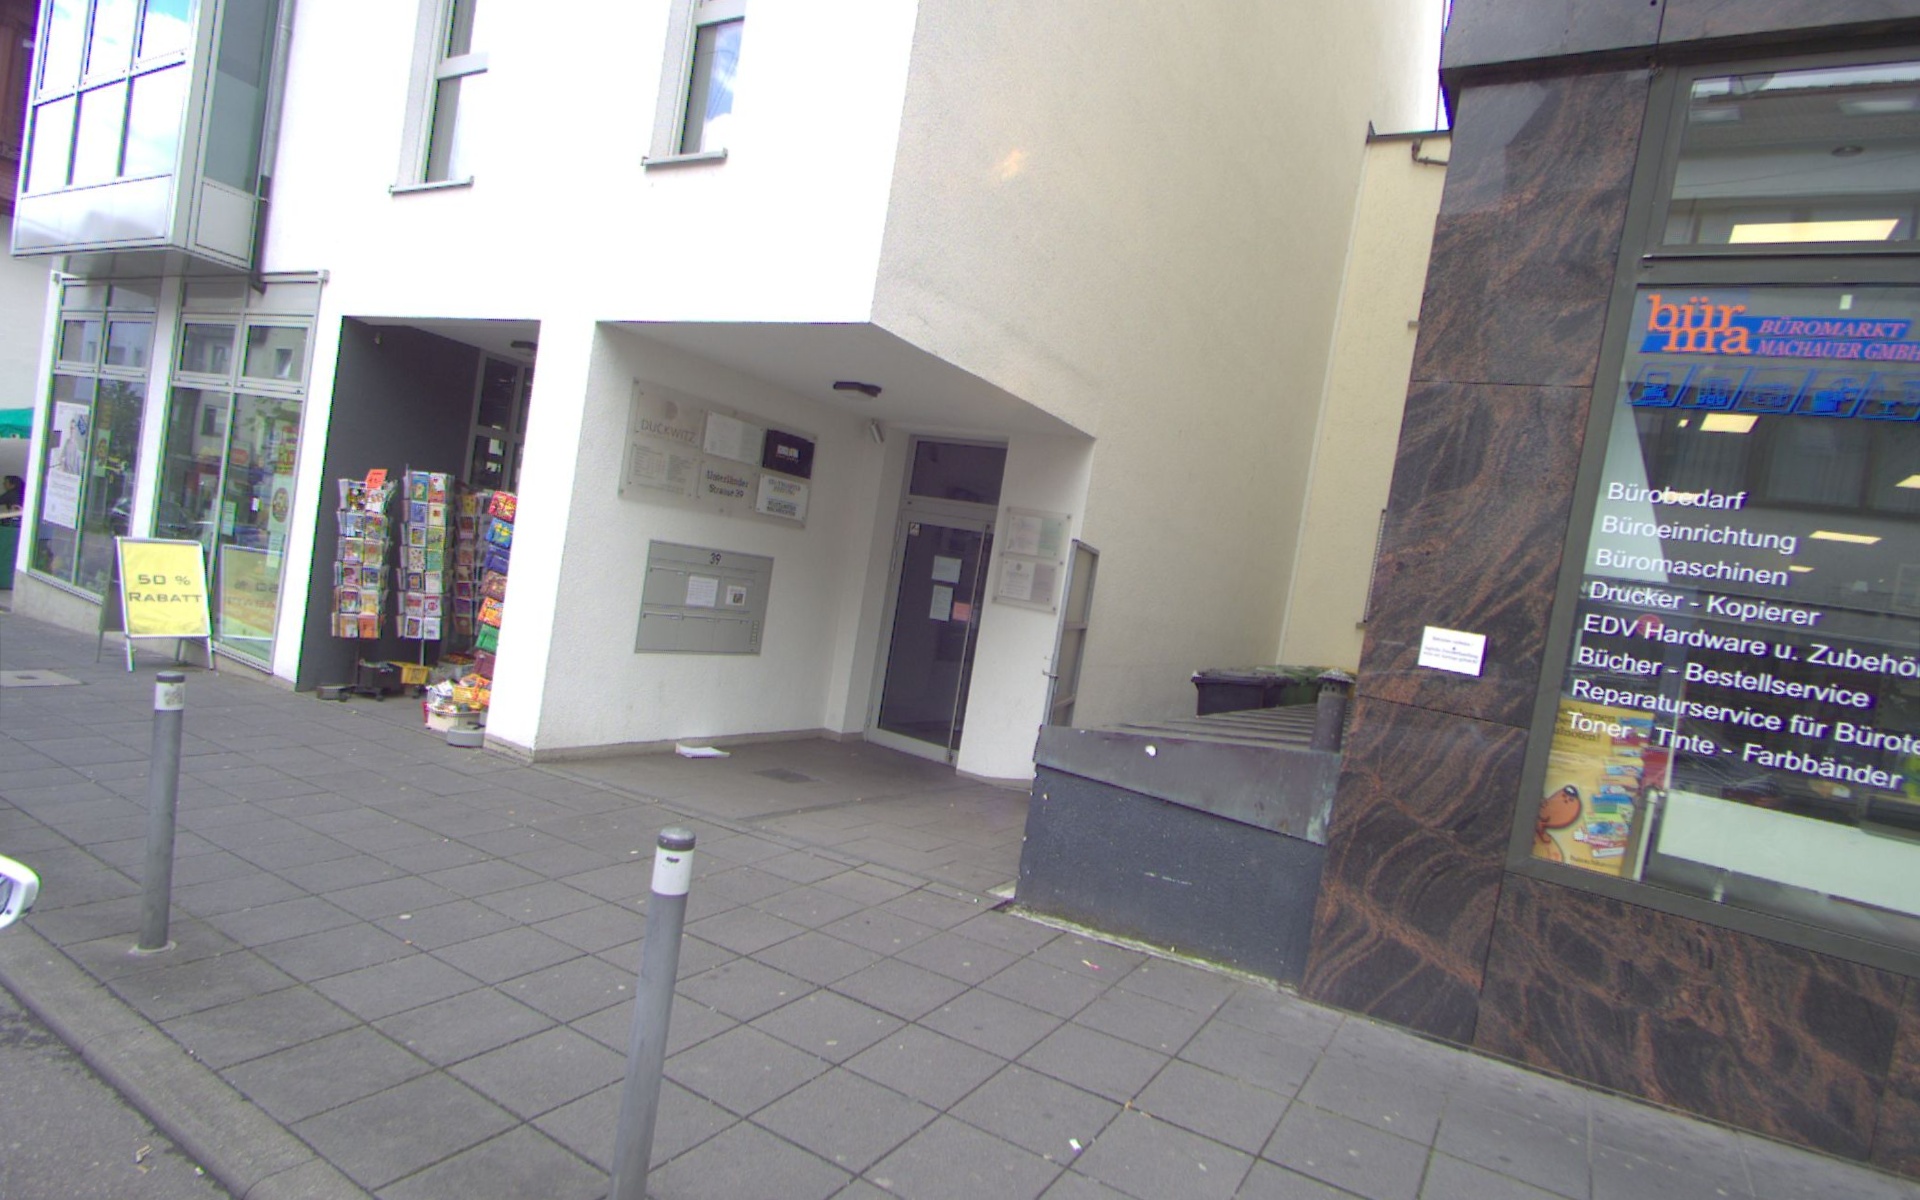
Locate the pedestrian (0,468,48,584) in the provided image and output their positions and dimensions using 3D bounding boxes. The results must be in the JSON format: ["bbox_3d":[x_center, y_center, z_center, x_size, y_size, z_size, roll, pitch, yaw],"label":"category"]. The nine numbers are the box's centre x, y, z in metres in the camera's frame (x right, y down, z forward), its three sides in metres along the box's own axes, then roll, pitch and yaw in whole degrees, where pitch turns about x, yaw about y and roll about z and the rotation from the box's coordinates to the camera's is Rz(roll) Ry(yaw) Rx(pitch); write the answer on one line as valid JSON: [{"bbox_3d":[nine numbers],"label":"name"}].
[{"bbox_3d":[-13.983,-1.100,14.800,0.692,1.633,0.623,7,1,36],"label":"pedestrian"}]

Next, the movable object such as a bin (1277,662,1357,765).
[{"bbox_3d":[4.190,1.307,11.790,0.643,1.072,0.746,7,1,30],"label":"movable object such as a bin"}]

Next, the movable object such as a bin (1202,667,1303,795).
[{"bbox_3d":[2.768,1.205,9.501,0.643,1.072,0.746,7,1,30],"label":"movable object such as a bin"}]

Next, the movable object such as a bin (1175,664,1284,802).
[{"bbox_3d":[2.381,1.143,8.862,0.644,1.072,0.722,7,1,30],"label":"movable object such as a bin"}]

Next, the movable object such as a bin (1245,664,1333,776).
[{"bbox_3d":[3.537,1.265,10.803,0.643,1.072,0.746,7,1,30],"label":"movable object such as a bin"}]

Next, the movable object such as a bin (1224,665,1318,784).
[{"bbox_3d":[3.149,1.232,10.154,0.643,1.072,0.746,7,1,30],"label":"movable object such as a bin"}]
